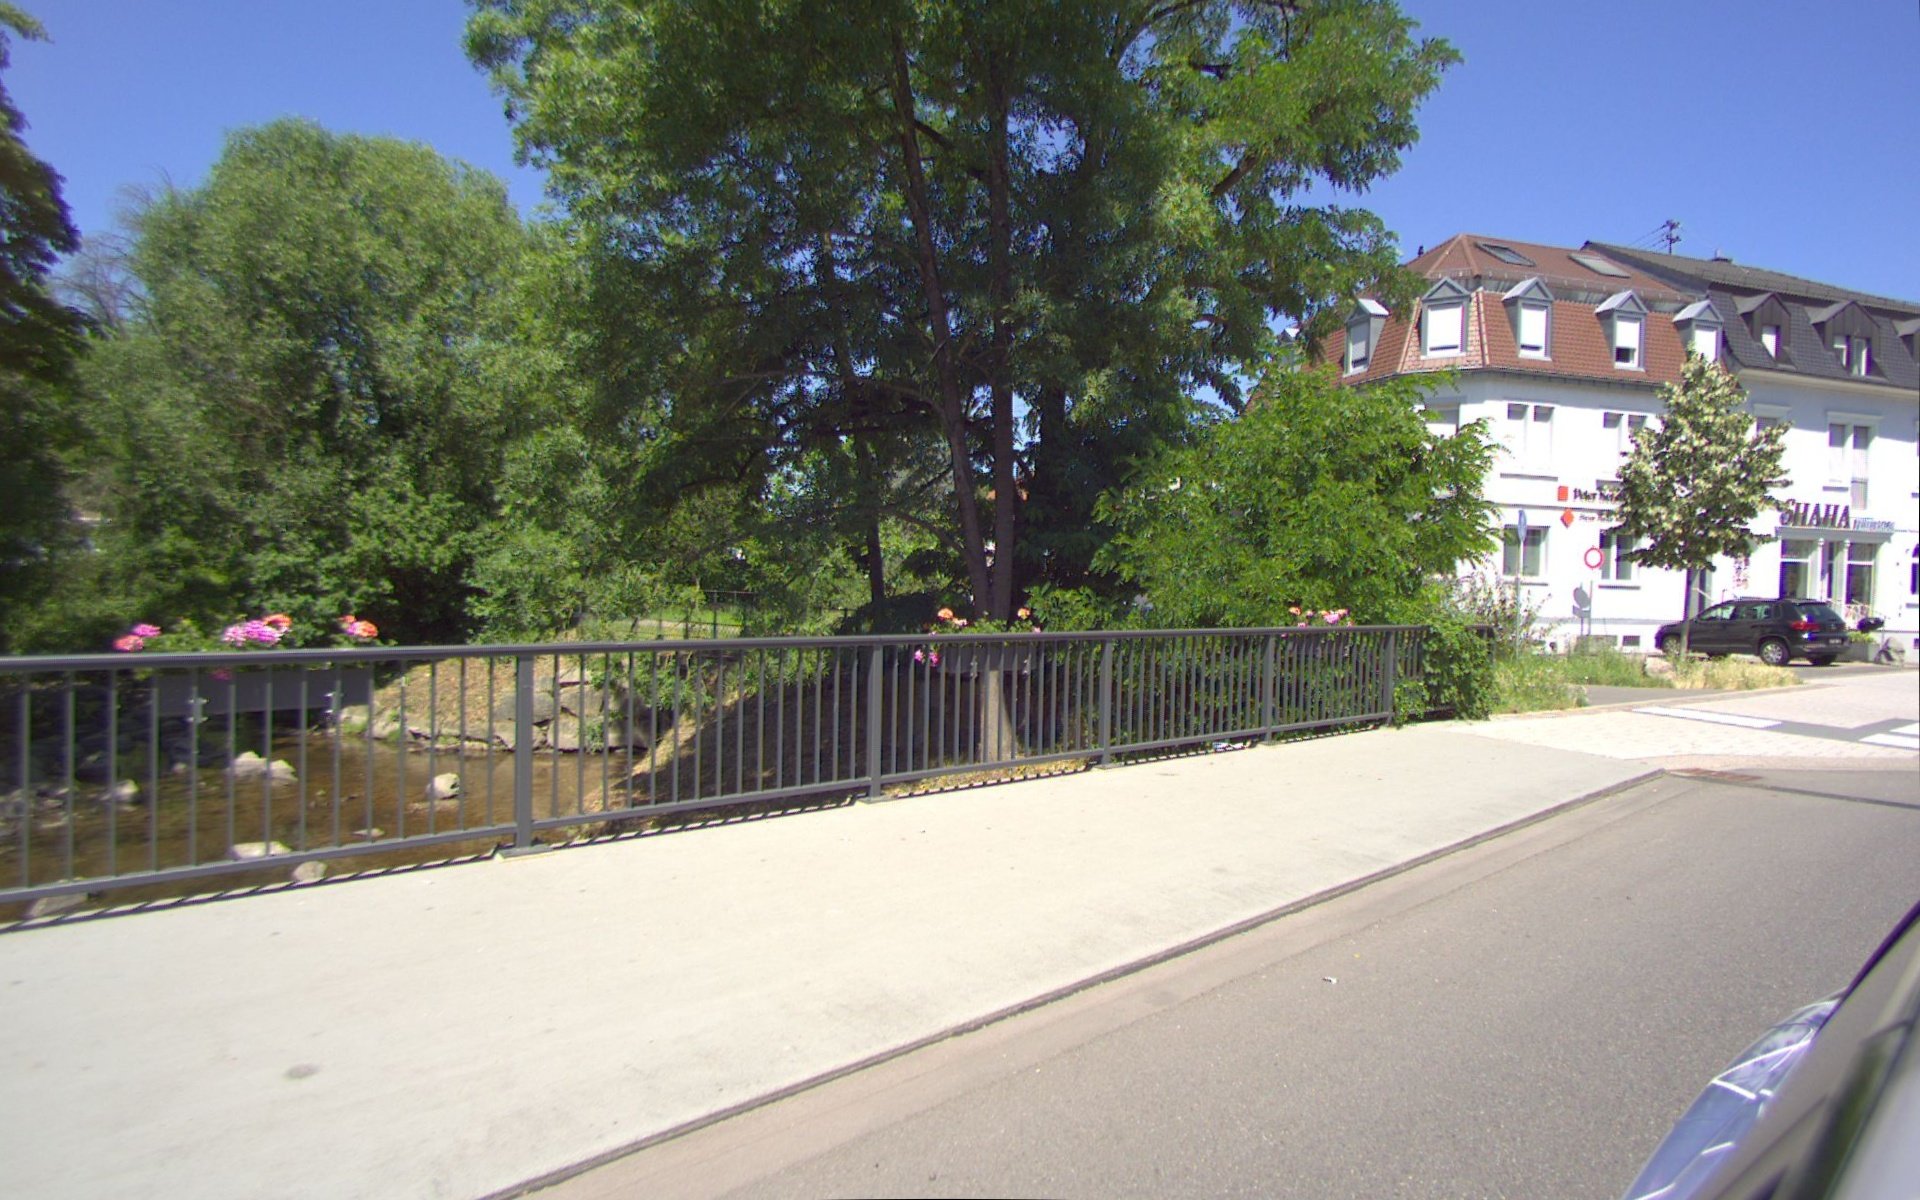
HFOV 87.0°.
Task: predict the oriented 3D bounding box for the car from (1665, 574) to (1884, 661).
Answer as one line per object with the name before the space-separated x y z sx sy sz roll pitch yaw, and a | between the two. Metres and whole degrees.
car | 20.750 0.409 26.021 1.958 2.039 4.008 0 0 -14

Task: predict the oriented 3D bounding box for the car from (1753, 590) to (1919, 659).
car | 23.981 0.624 27.031 1.958 1.691 4.008 2 -1 -14

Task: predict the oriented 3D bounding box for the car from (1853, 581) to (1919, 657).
car | 26.871 0.570 27.053 1.958 2.039 4.009 2 1 -14
